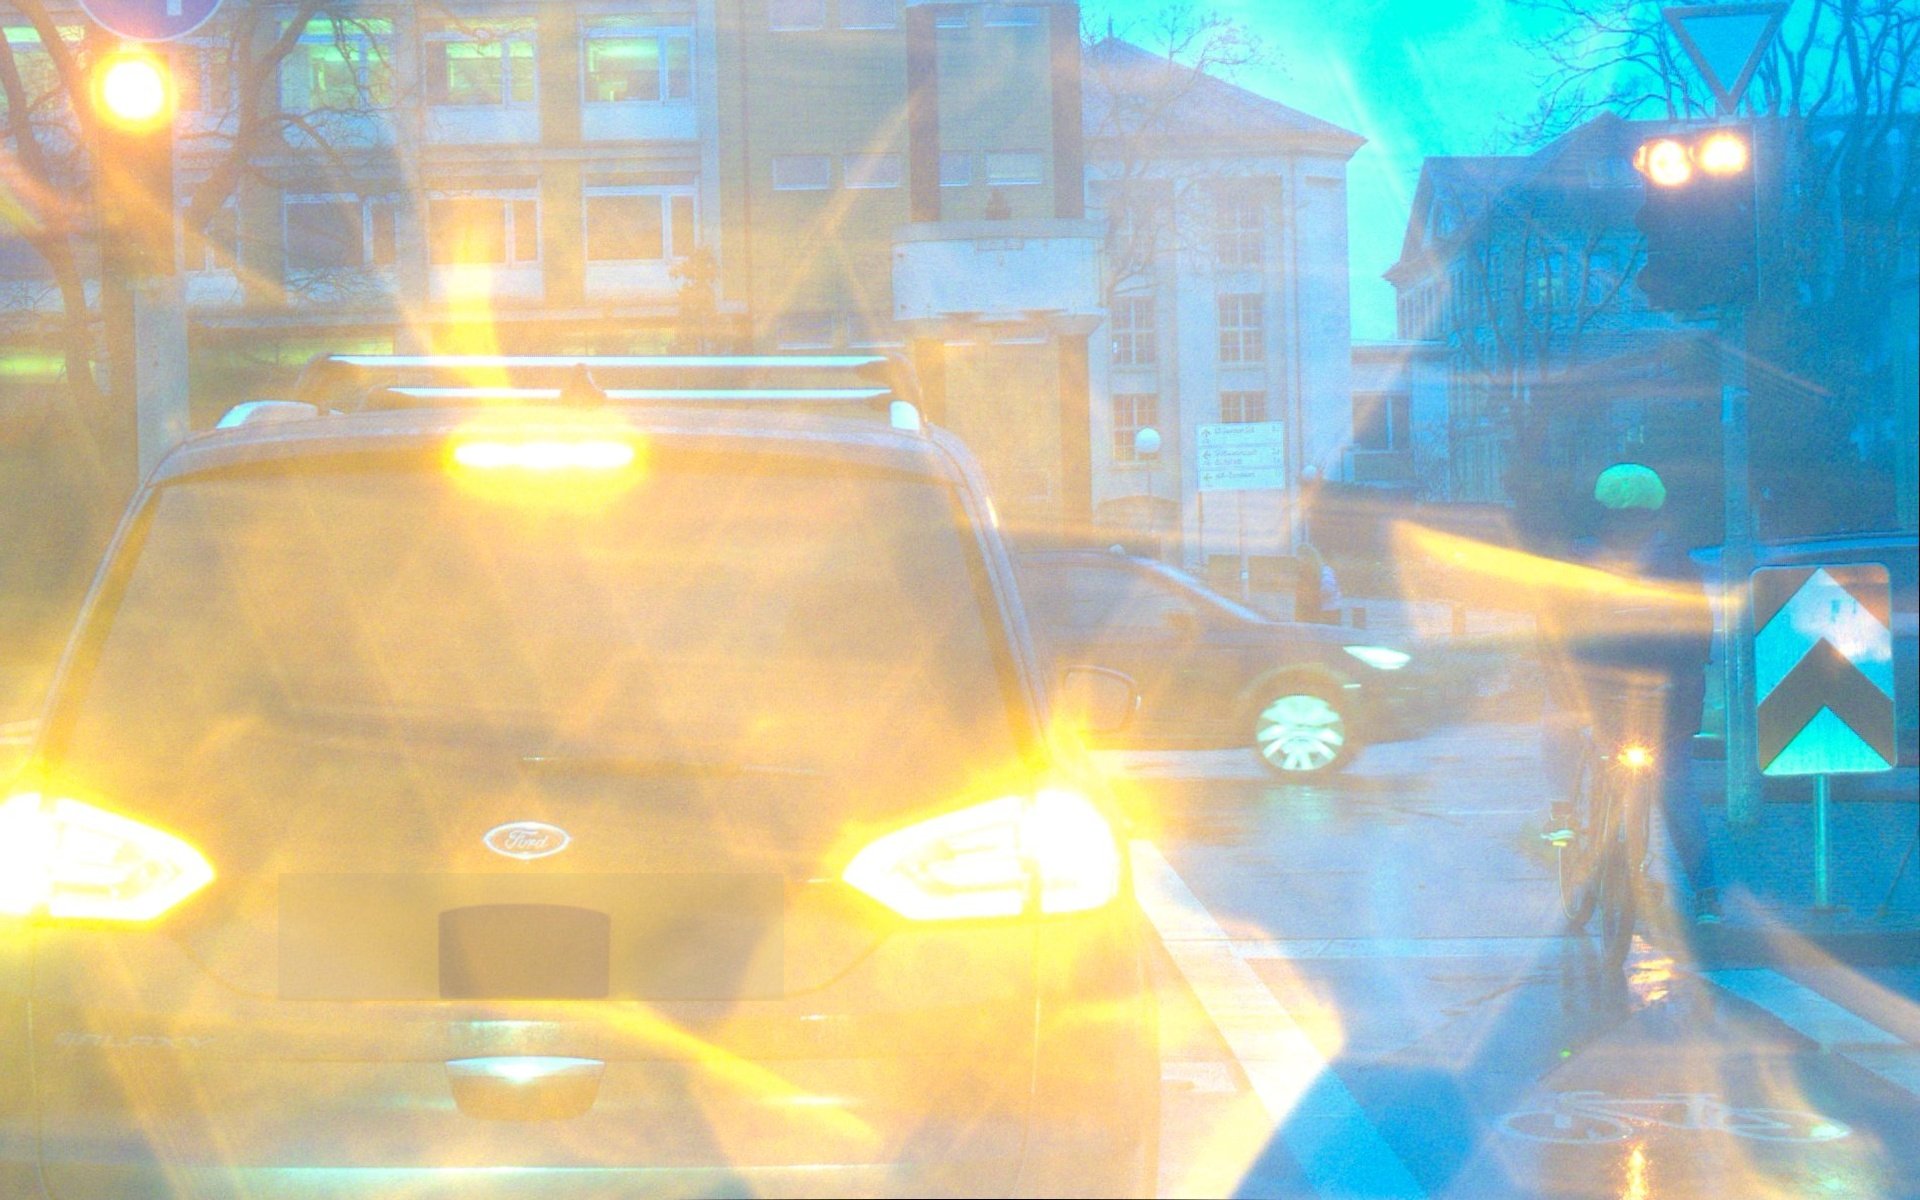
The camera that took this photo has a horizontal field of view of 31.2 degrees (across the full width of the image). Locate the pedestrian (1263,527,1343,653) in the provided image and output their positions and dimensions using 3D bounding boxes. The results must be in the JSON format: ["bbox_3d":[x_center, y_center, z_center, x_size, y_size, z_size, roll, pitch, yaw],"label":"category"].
[{"bbox_3d":[4.300,-0.134,43.158,0.924,1.527,1.043,-2,1,4],"label":"pedestrian"}]

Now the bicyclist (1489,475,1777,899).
[{"bbox_3d":[2.406,0.295,12.405,0.783,1.448,1.134,1,0,-1],"label":"bicyclist"}]

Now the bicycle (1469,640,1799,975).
[{"bbox_3d":[2.407,0.709,12.526,0.783,1.071,1.957,1,1,-1],"label":"bicycle"}]

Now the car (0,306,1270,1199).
[{"bbox_3d":[-0.620,0.491,6.570,1.993,1.783,4.000,1,1,-1],"label":"car"}]

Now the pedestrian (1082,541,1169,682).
[{"bbox_3d":[2.181,0.141,45.143,0.997,1.793,0.919,-2,1,9],"label":"pedestrian"}]

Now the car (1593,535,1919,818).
[{"bbox_3d":[5.857,0.367,19.018,4.579,1.472,1.810,-2,0,10],"label":"car"}]

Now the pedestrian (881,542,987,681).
[{"bbox_3d":[-0.333,0.145,44.097,1.136,1.714,0.981,-2,1,10],"label":"pedestrian"}]

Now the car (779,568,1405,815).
[{"bbox_3d":[0.927,0.584,22.800,3.956,1.472,1.811,-2,0,7],"label":"car"}]
